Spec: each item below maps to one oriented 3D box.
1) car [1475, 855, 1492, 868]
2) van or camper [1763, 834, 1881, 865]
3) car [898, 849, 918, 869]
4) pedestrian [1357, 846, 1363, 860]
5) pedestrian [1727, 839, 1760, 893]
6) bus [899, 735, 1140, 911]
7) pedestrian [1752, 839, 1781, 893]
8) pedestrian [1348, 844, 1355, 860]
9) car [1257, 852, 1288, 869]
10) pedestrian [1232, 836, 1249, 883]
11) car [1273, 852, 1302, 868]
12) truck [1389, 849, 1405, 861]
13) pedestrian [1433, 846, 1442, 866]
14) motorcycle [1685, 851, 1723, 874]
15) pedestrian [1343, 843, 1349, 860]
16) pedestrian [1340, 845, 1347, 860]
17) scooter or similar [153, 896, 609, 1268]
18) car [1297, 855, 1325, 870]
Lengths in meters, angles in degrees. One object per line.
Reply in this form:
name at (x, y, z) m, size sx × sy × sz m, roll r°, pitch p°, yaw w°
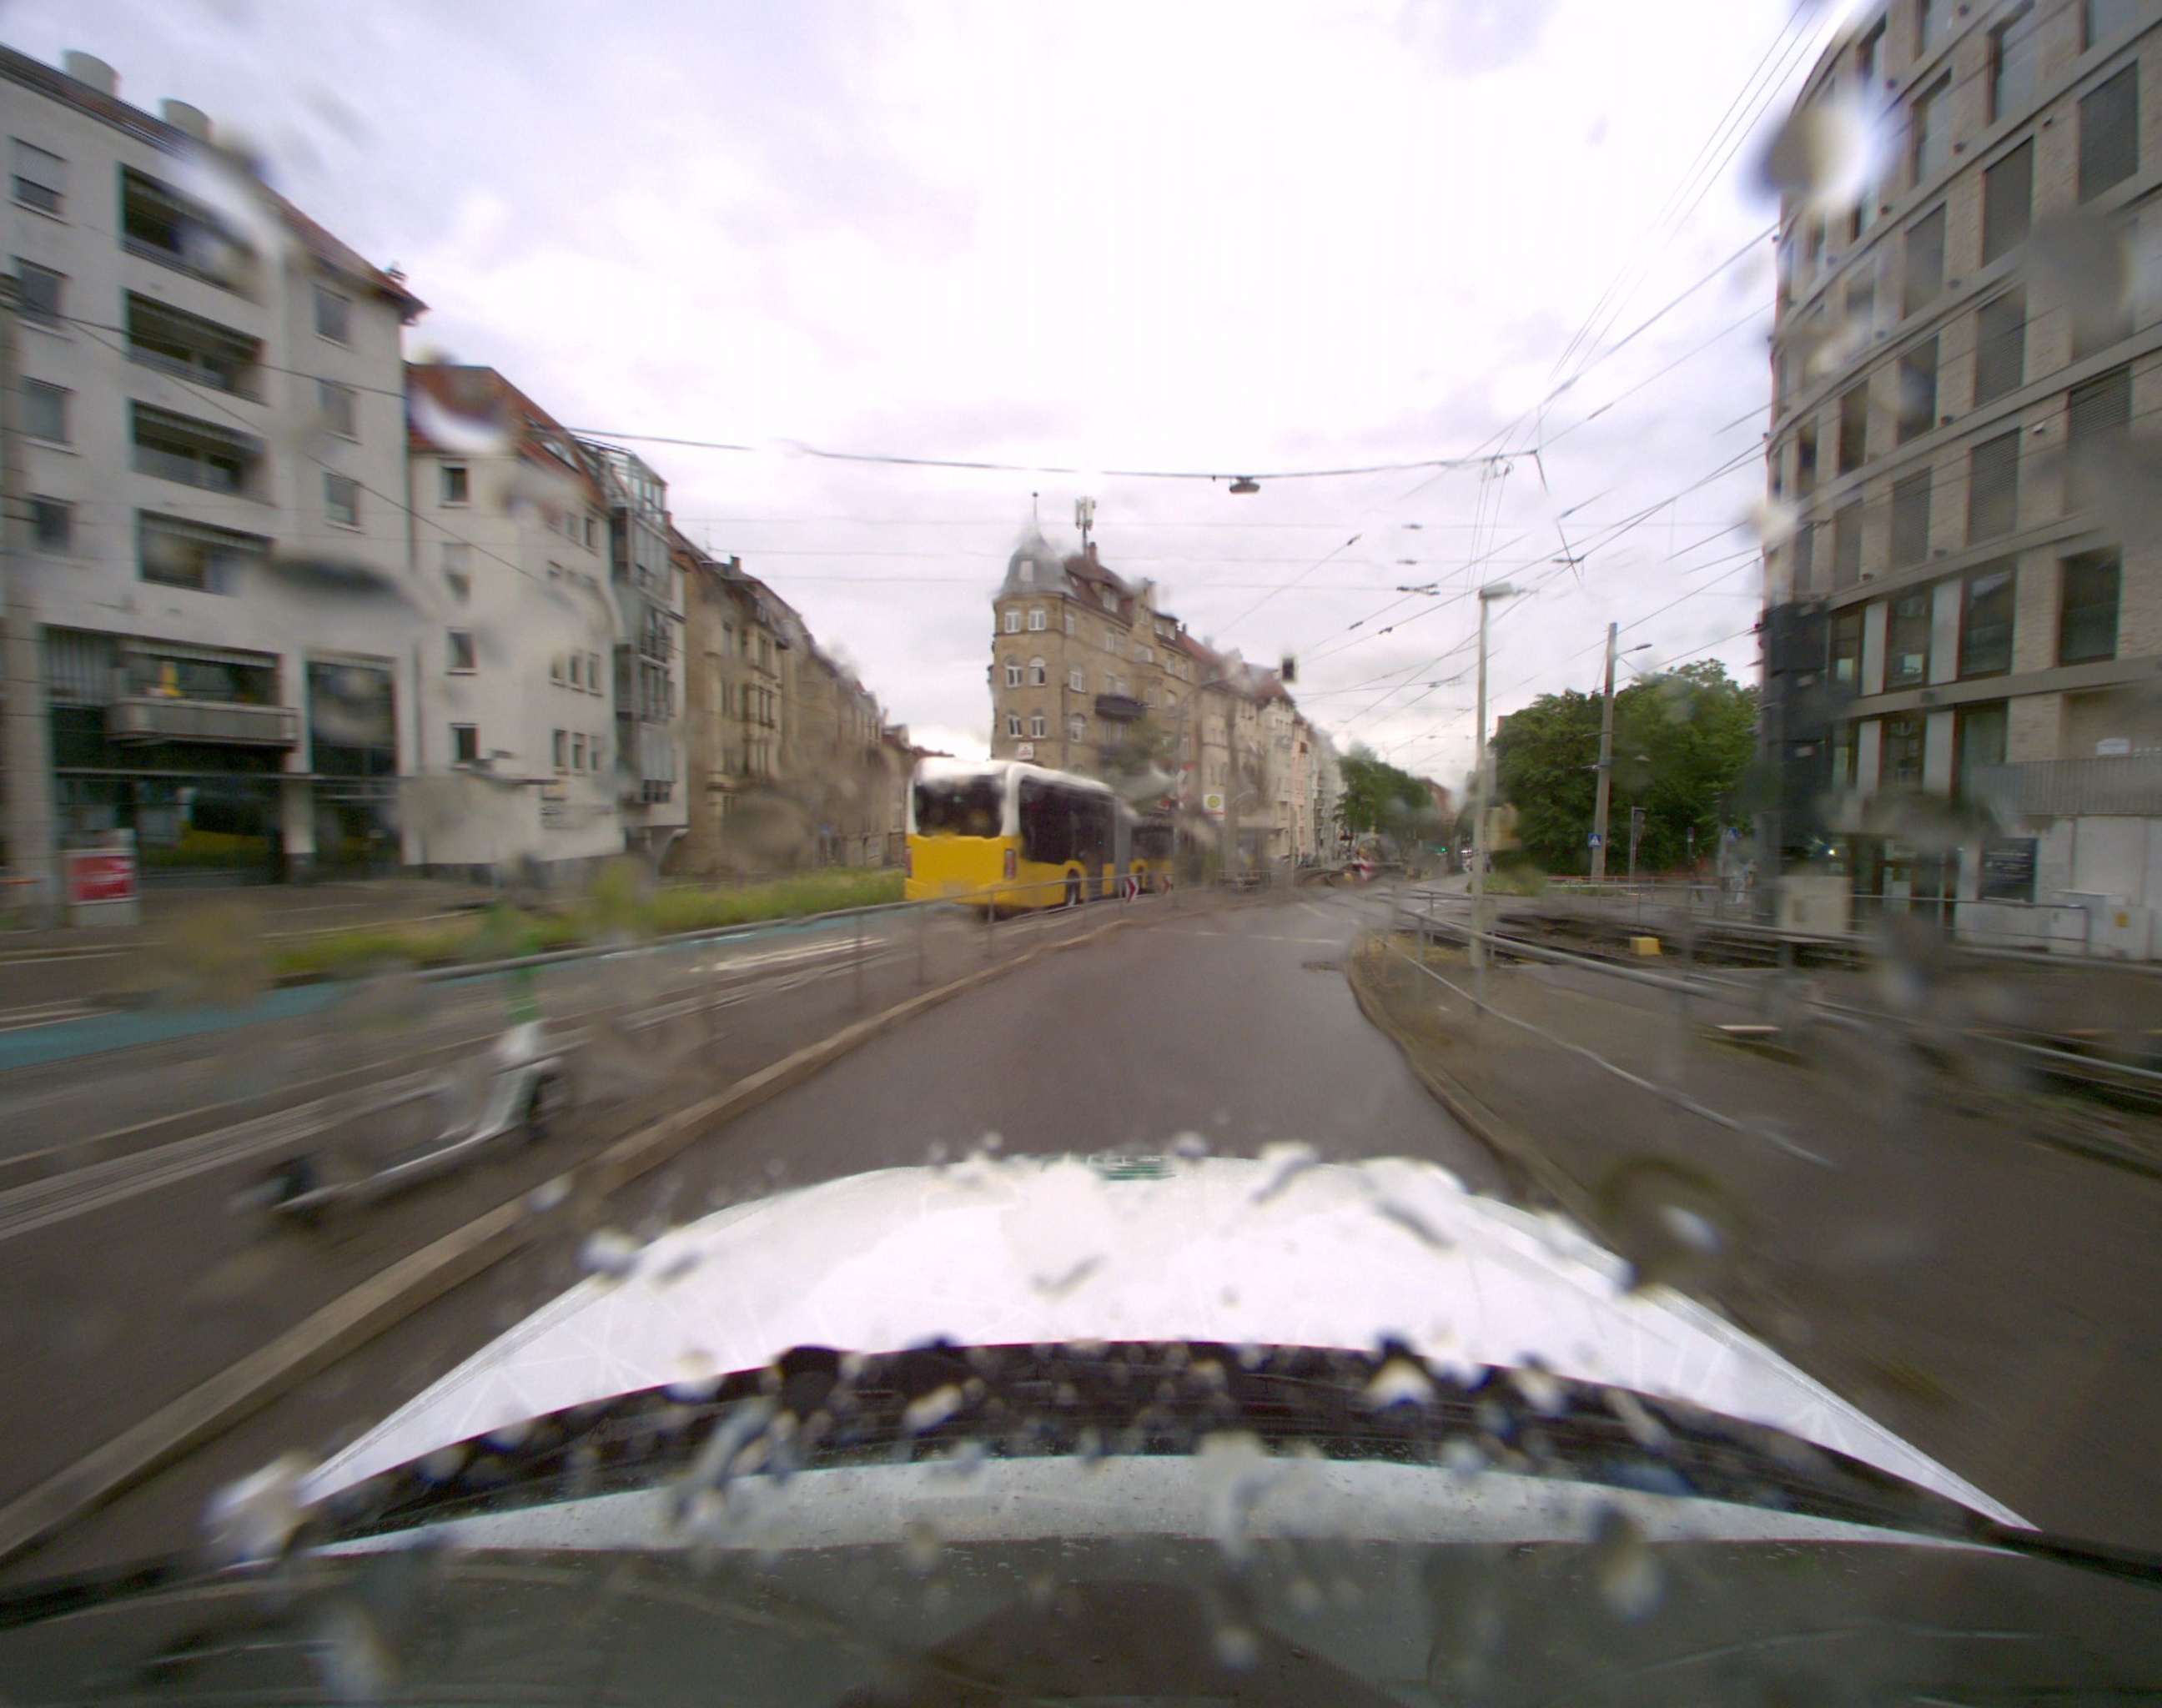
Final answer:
car at (48.612, 0.891, 98.363) m, size 1.835 × 1.473 × 4.024 m, roll 0°, pitch 0°, yaw 26°
van or camper at (46.209, -0.241, 50.979) m, size 1.999 × 1.834 × 5.150 m, roll 0°, pitch -1°, yaw -18°
car at (-19.197, 0.540, 90.620) m, size 2.139 × 2.137 × 4.837 m, roll 1°, pitch -1°, yaw -12°
pedestrian at (32.973, -0.077, 96.218) m, size 0.588 × 1.666 × 0.766 m, roll -1°, pitch -2°, yaw 27°
pedestrian at (25.312, 0.455, 31.138) m, size 0.650 × 2.013 × 0.895 m, roll -1°, pitch 0°, yaw 15°
bus at (-0.995, -0.574, 20.791) m, size 2.569 × 3.469 × 9.152 m, roll 0°, pitch 0°, yaw 20°
pedestrian at (25.974, 0.441, 30.855) m, size 0.586 × 2.013 × 0.896 m, roll -1°, pitch 0°, yaw 23°
pedestrian at (30.165, -0.229, 90.788) m, size 0.511 × 1.838 × 0.766 m, roll -1°, pitch -2°, yaw 27°
car at (19.608, 0.680, 83.264) m, size 1.975 × 1.533 × 4.559 m, roll 3°, pitch 0°, yaw 28°
pedestrian at (6.076, 0.214, 30.978) m, size 0.571 × 1.752 × 0.546 m, roll 0°, pitch -1°, yaw 17°
car at (22.359, 0.627, 88.218) m, size 1.905 × 1.622 × 4.563 m, roll -1°, pitch 0°, yaw 29°
truck at (64.827, 0.240, 166.993) m, size 2.031 × 2.393 × 6.360 m, roll 0°, pitch 0°, yaw 31°
pedestrian at (32.234, 0.171, 73.608) m, size 0.644 × 1.784 × 0.853 m, roll 0°, pitch 0°, yaw 28°
motorcycle at (40.572, 0.561, 53.012) m, size 2.433 × 1.374 × 0.819 m, roll 1°, pitch 4°, yaw -24°
pedestrian at (28.089, -0.253, 86.339) m, size 0.556 × 1.850 × 0.602 m, roll -1°, pitch -2°, yaw 27°
pedestrian at (28.043, -0.118, 87.015) m, size 0.511 × 1.605 × 0.566 m, roll -1°, pitch -2°, yaw 27°
scooter or similar at (-2.748, 0.781, 3.454) m, size 0.431 × 1.113 × 1.607 m, roll 1°, pitch 0°, yaw 4°
car at (27.115, 1.042, 96.037) m, size 1.974 × 1.732 × 4.843 m, roll -1°, pitch -2°, yaw 30°
